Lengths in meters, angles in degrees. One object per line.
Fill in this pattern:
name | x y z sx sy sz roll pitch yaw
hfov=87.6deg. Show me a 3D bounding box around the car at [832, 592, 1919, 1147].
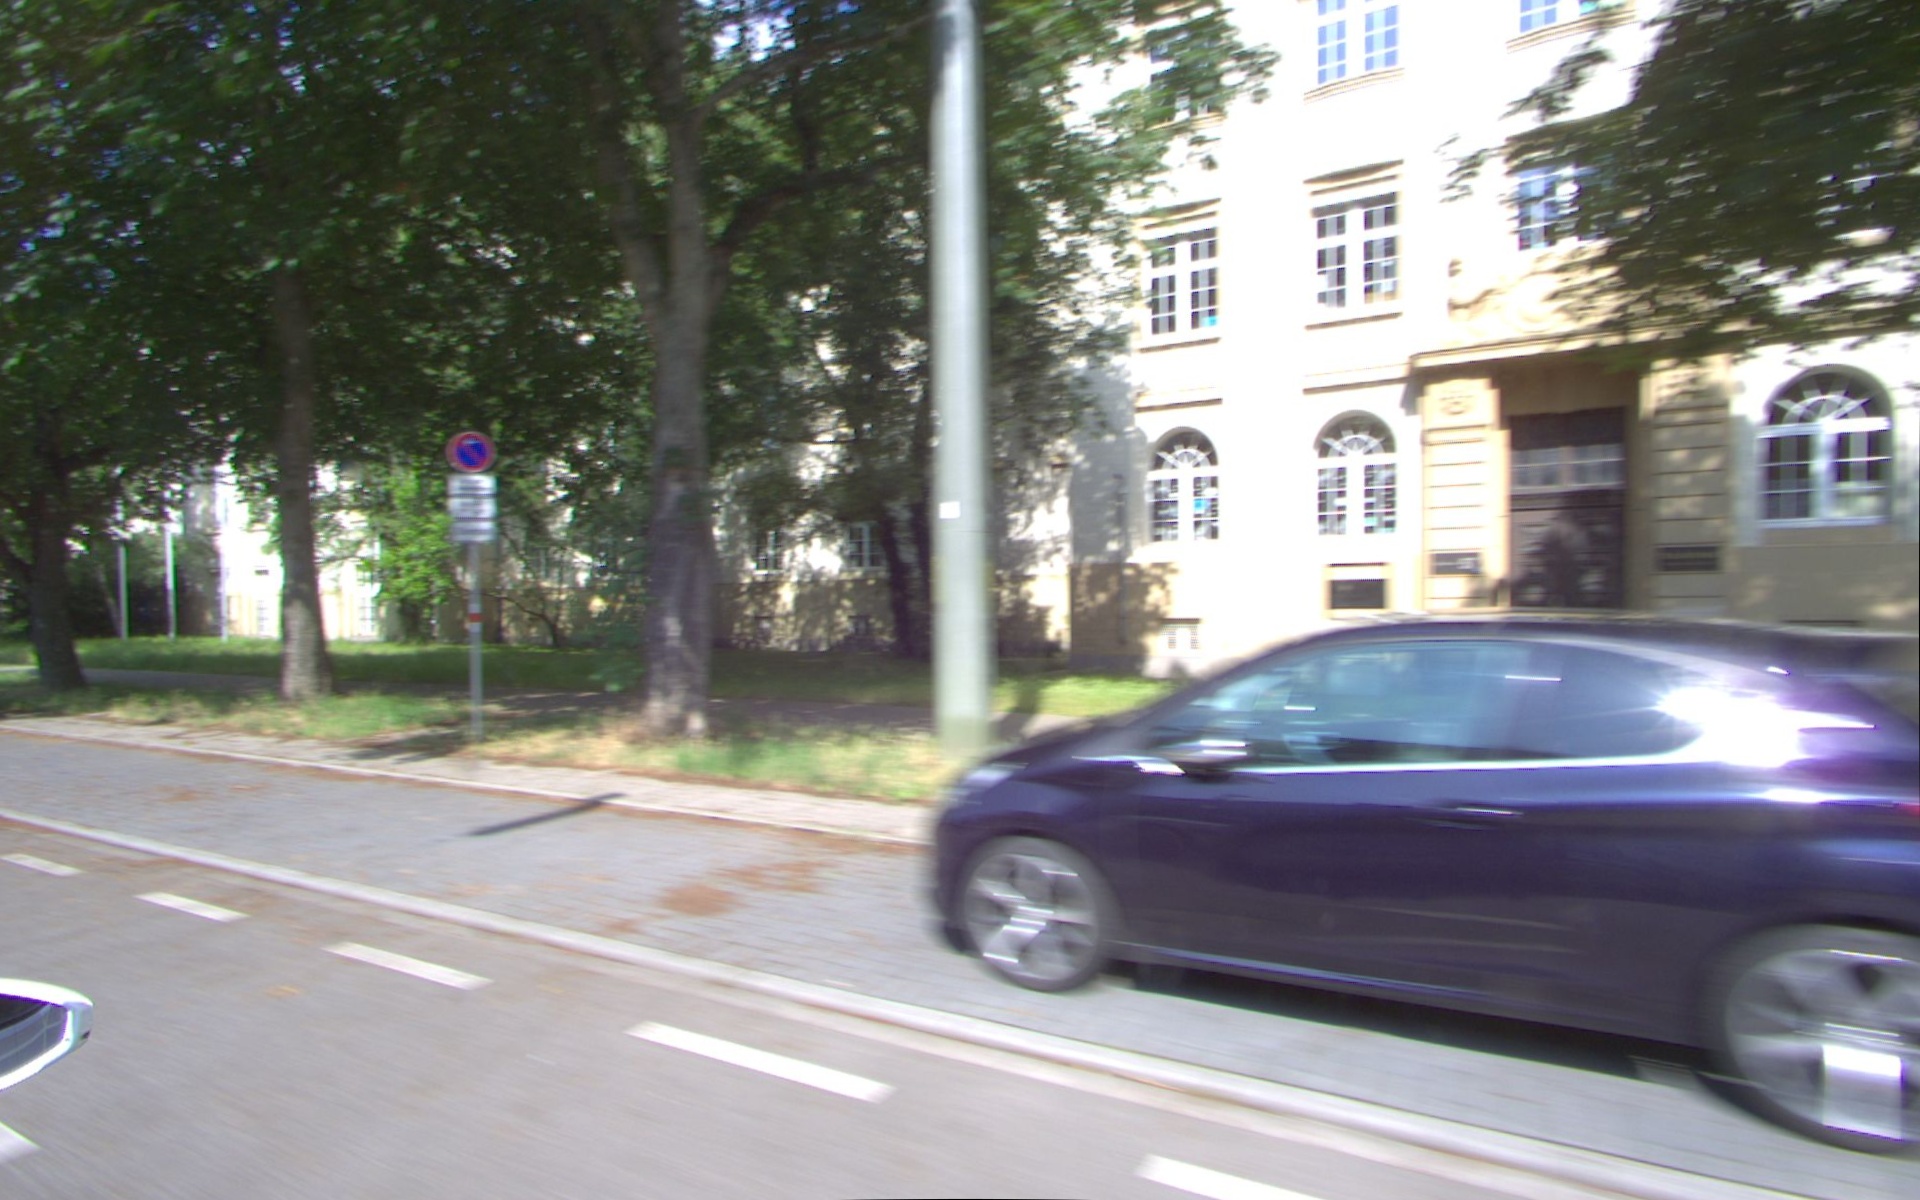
car | 1.547 0.725 4.087 3.866 1.406 1.682 -1 1 30
